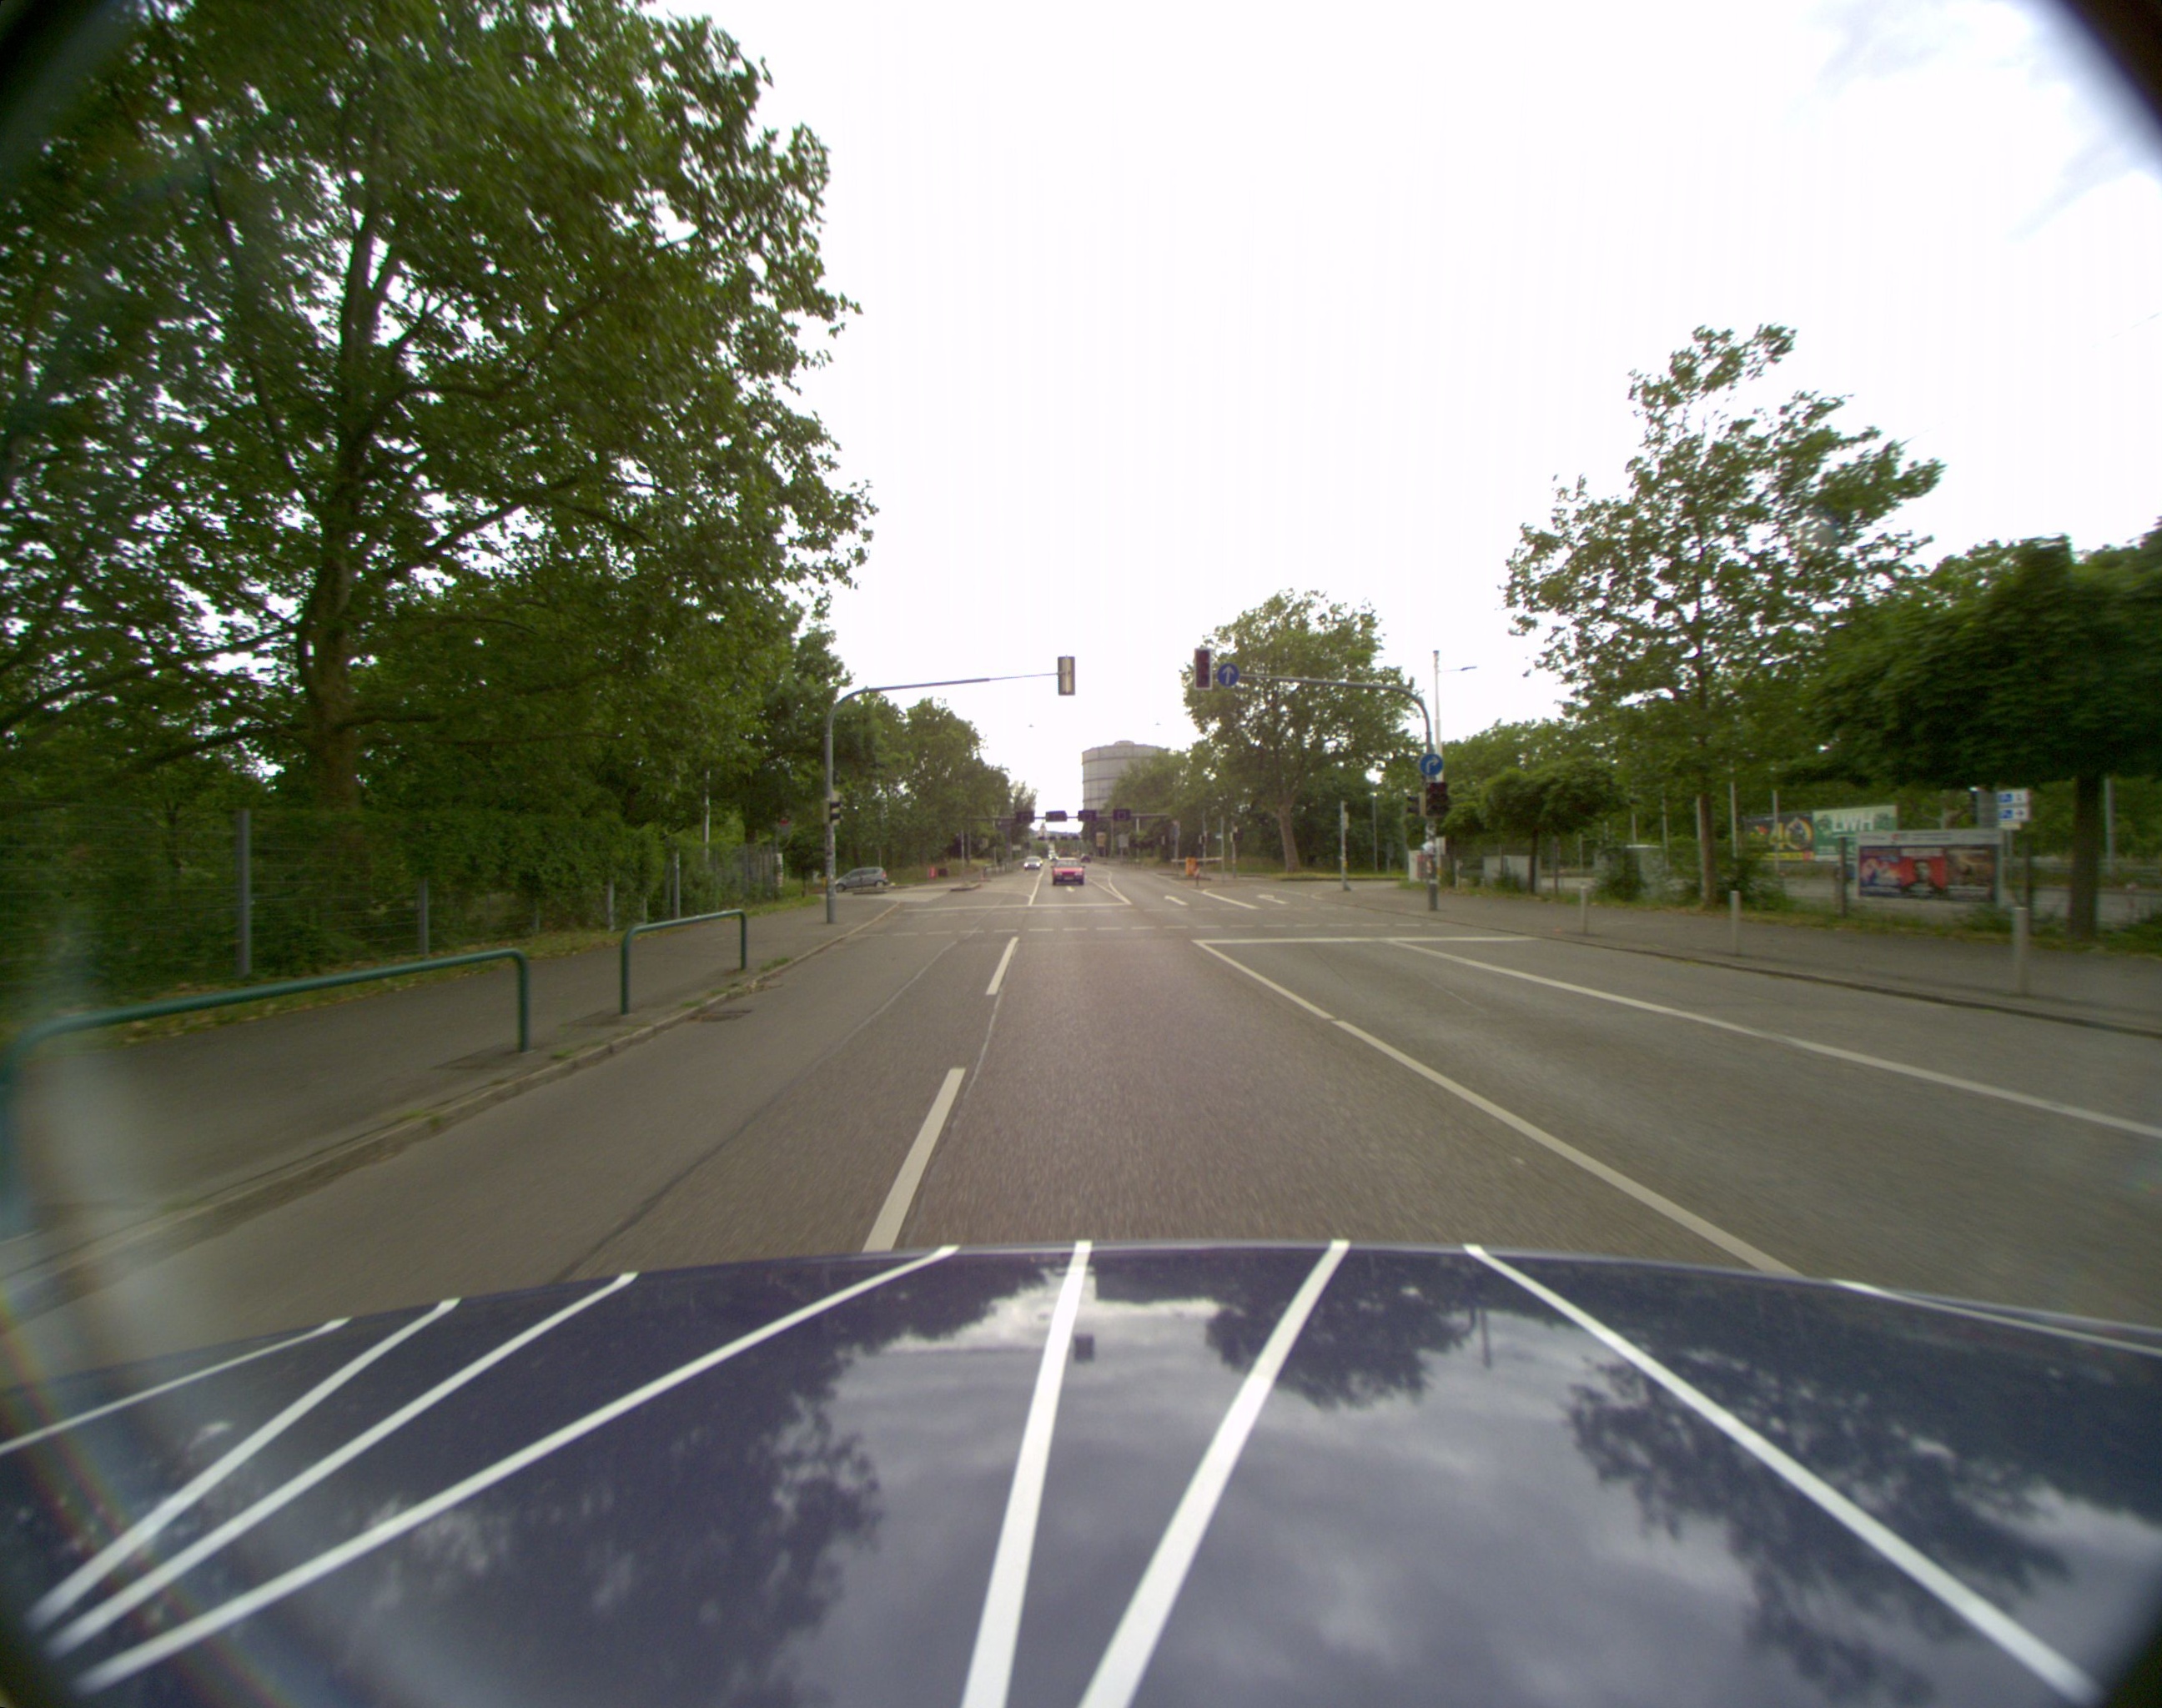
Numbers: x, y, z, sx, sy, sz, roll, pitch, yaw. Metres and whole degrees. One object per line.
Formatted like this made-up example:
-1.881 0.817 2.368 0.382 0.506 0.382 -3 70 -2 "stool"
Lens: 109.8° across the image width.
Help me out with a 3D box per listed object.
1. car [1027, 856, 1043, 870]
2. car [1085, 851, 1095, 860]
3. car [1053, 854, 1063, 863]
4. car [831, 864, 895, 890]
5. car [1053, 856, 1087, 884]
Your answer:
-5.290 1.035 88.339 1.771 1.565 3.999 -1 0 -2 "car"
1.737 0.348 146.973 1.998 1.650 4.517 0 0 1 "car"
-5.170 0.994 172.133 1.998 1.792 4.000 -3 0 1 "car"
-14.852 1.584 51.762 4.037 1.606 1.829 -2 -1 -20 "car"
-0.644 0.840 41.340 1.696 1.434 3.999 0 -1 -2 "car"
